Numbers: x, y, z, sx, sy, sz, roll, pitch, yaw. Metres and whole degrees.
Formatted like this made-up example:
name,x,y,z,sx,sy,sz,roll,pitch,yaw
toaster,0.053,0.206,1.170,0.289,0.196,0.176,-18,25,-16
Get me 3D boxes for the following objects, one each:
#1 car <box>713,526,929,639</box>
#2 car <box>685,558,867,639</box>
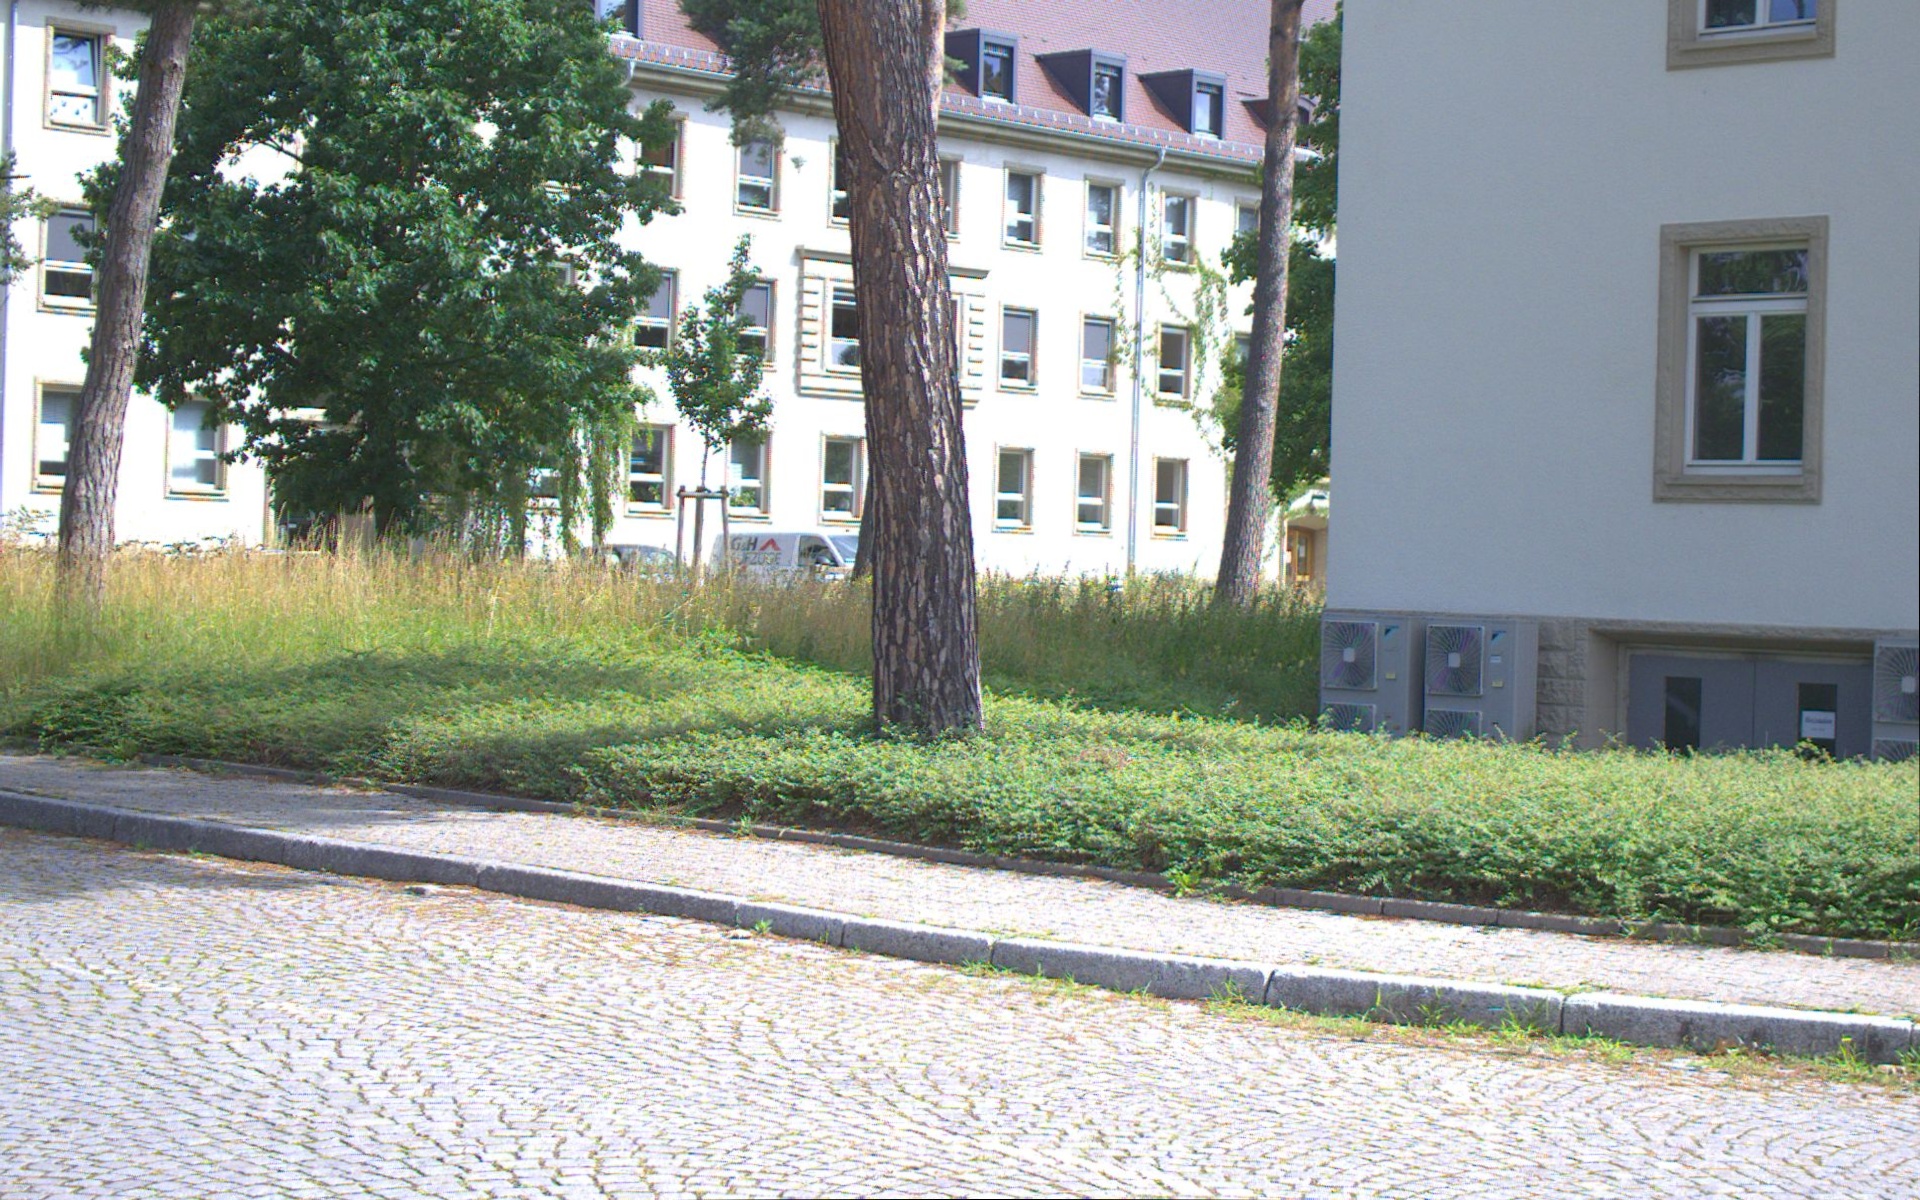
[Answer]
name,x,y,z,sx,sy,sz,roll,pitch,yaw
car,-2.651,-0.347,64.960,1.708,1.985,4.070,2,0,-45
car,-3.342,-0.031,62.063,1.421,1.339,3.293,2,0,-45
